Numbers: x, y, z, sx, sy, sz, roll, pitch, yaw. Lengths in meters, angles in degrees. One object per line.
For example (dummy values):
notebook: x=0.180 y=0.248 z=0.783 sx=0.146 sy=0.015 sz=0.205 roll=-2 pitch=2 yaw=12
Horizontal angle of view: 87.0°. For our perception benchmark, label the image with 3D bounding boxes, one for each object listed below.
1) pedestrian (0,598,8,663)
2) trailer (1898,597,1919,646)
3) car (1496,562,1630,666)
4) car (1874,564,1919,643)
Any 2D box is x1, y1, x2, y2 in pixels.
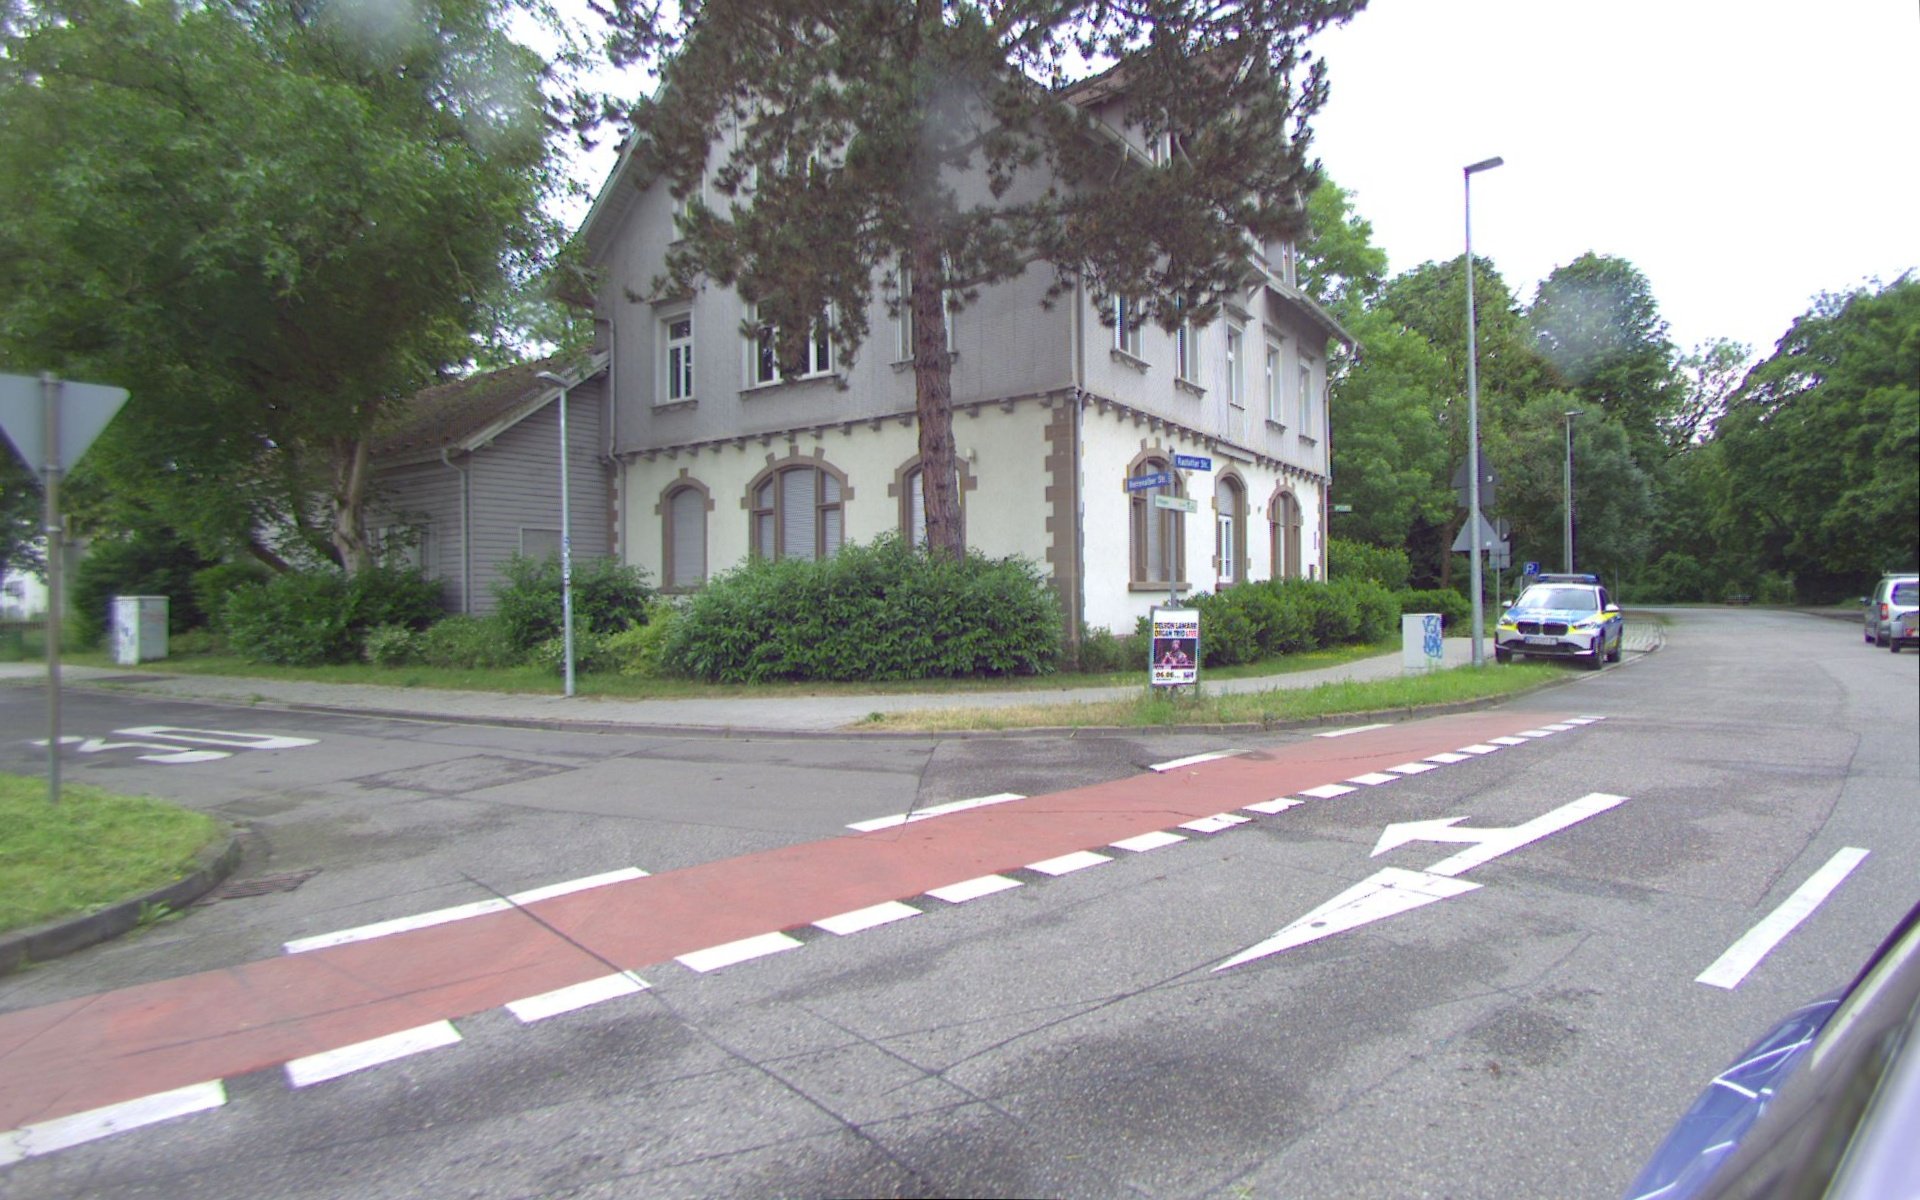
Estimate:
pedestrian: x=-27.774 y=0.877 z=28.838 sx=0.700 sy=1.863 sz=0.608 roll=-1 pitch=0 yaw=4
trailer: x=22.126 y=0.452 z=22.624 sx=1.565 sy=0.998 sz=3.414 roll=0 pitch=1 yaw=41
car: x=12.279 y=0.211 z=20.507 sx=1.926 sy=1.873 sz=3.948 roll=2 pitch=2 yaw=36
car: x=24.528 y=0.037 z=25.372 sx=2.084 sy=1.881 sz=4.163 roll=-2 pitch=0 yaw=39
